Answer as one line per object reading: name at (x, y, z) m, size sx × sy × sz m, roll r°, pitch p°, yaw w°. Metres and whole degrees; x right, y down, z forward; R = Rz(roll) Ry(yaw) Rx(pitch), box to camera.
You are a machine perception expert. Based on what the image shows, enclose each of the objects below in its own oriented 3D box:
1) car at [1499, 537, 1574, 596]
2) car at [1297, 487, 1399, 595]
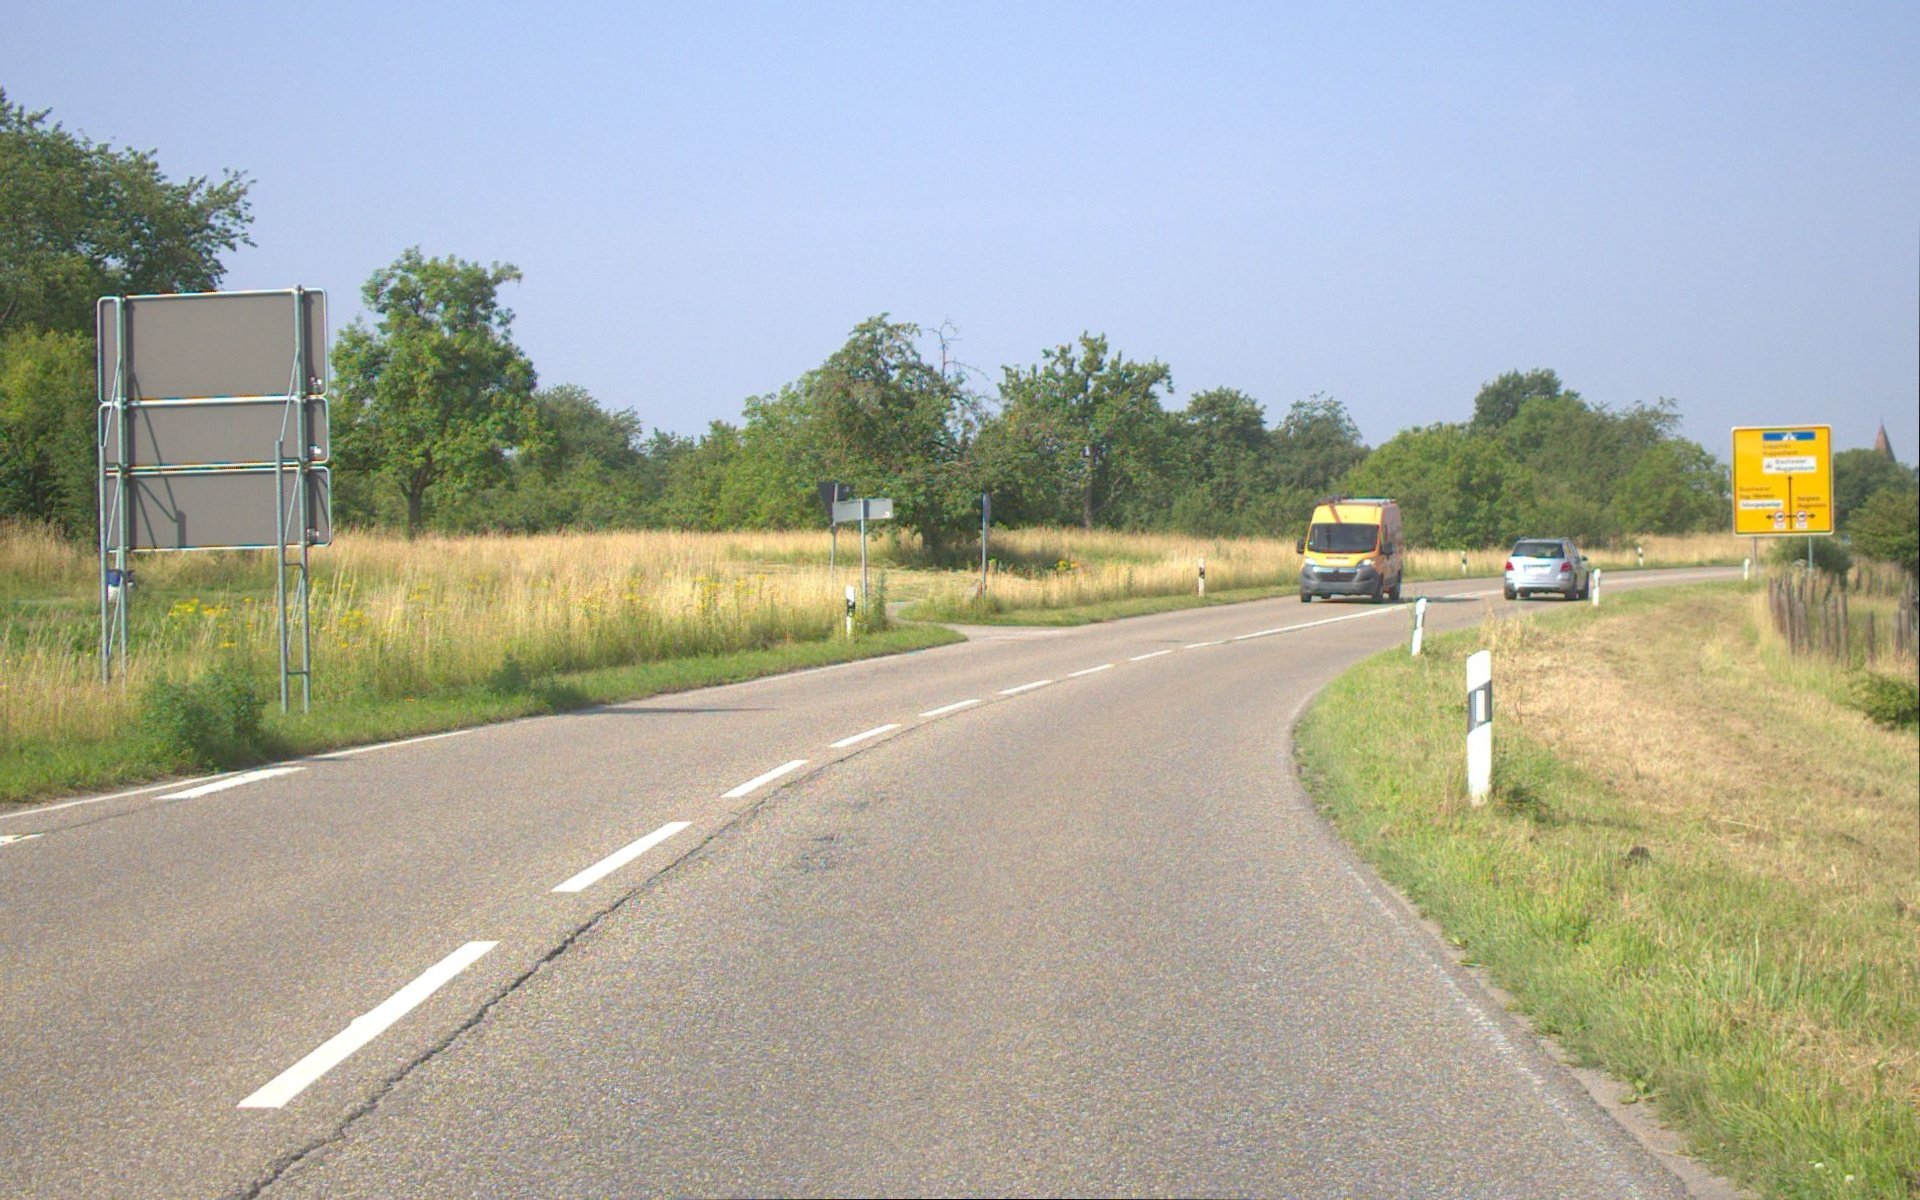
car at (15.341, -0.894, 91.328) m, size 1.900 × 1.506 × 3.998 m, roll 1°, pitch 1°, yaw 10°
car at (10.009, -1.513, 88.312) m, size 2.125 × 2.686 × 5.266 m, roll 1°, pitch 1°, yaw 11°
